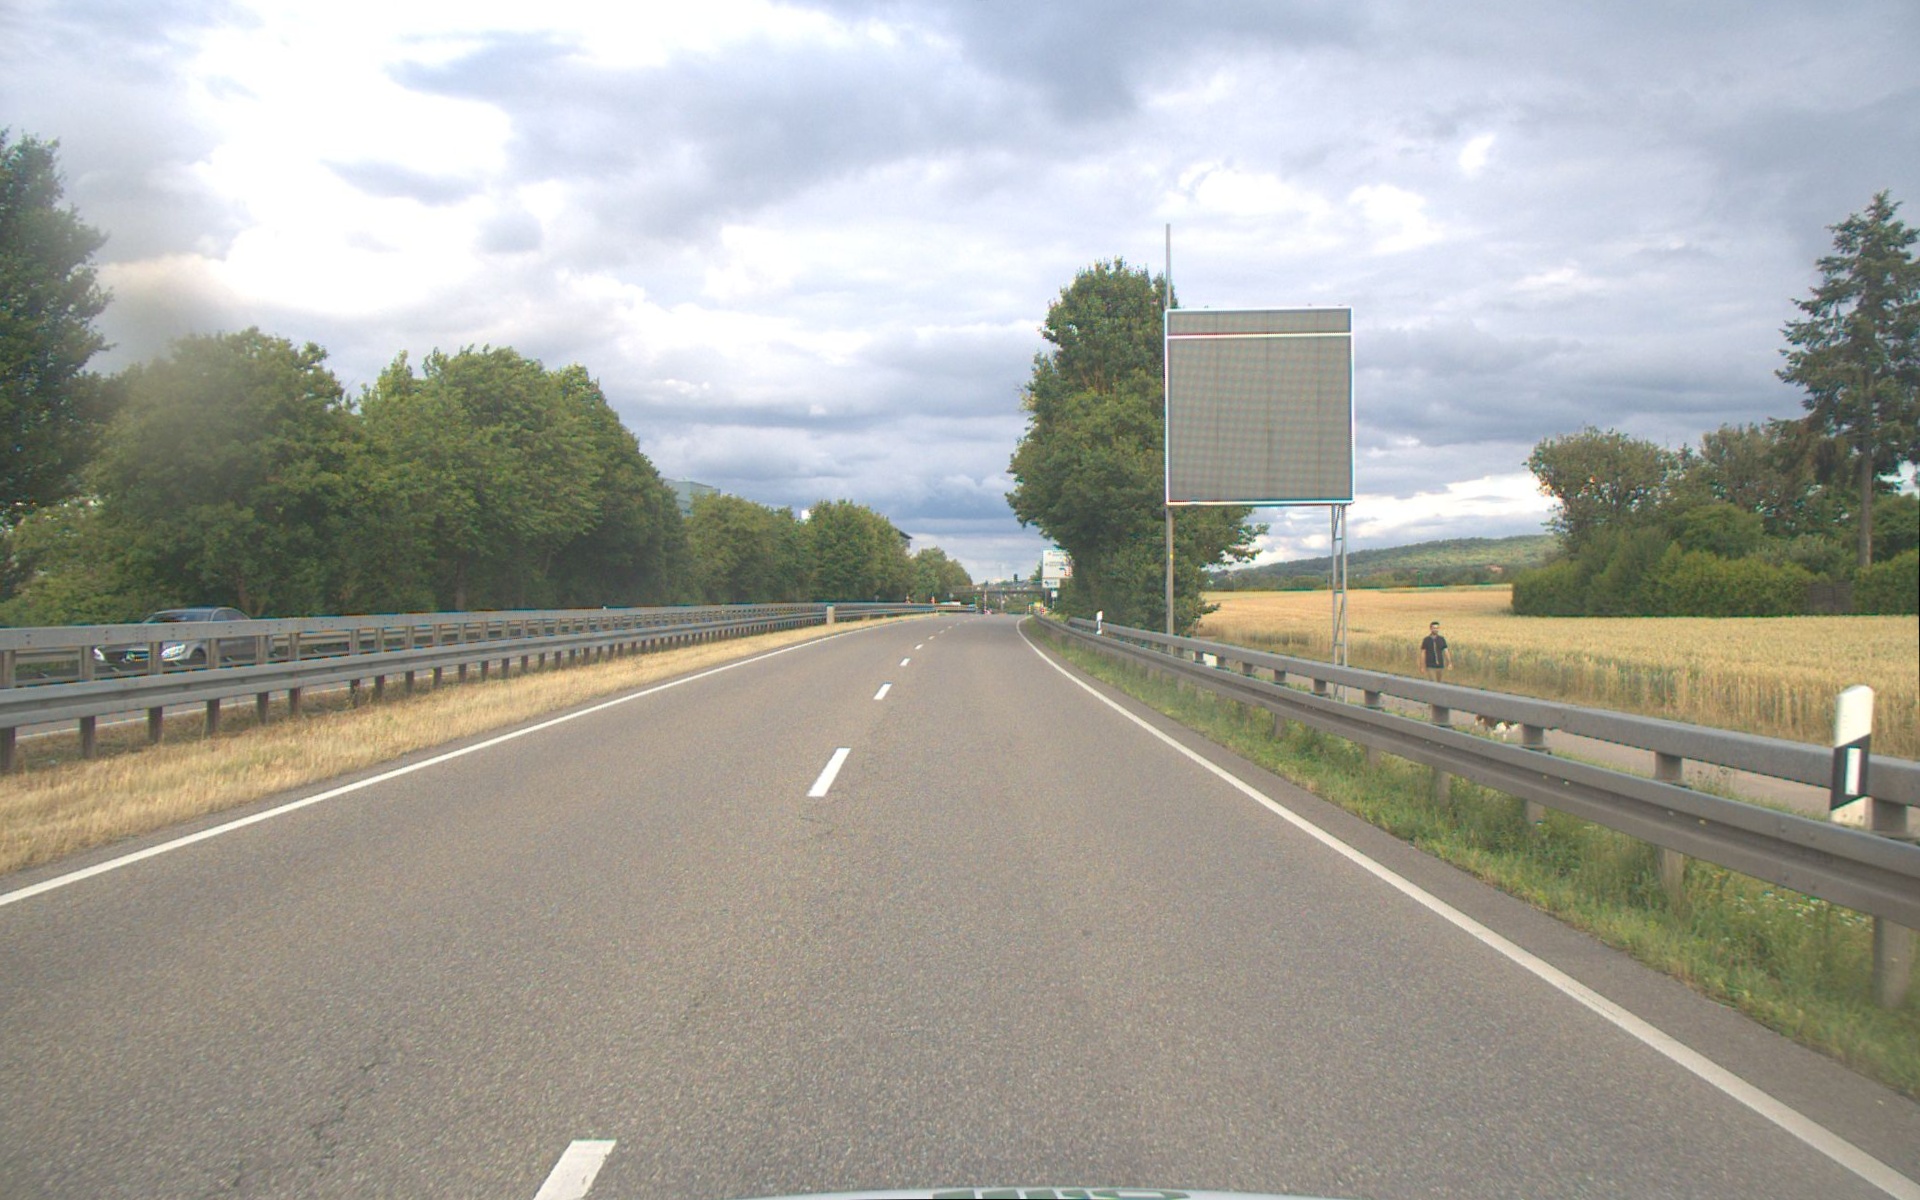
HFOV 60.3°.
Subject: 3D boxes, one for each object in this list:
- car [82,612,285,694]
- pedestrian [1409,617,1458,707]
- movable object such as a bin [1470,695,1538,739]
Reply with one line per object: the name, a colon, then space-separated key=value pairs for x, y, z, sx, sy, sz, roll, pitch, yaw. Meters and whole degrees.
car: x=-14.625 y=0.959 z=31.449 sx=1.745 sy=1.375 sz=4.576 roll=-1 pitch=0 yaw=-1
pedestrian: x=10.296 y=1.331 z=35.980 sx=0.755 sy=1.900 sz=0.940 roll=2 pitch=-1 yaw=-1
movable object such as a bin: x=9.230 y=1.977 z=28.099 sx=0.717 sy=0.657 sz=1.235 roll=2 pitch=0 yaw=-1
